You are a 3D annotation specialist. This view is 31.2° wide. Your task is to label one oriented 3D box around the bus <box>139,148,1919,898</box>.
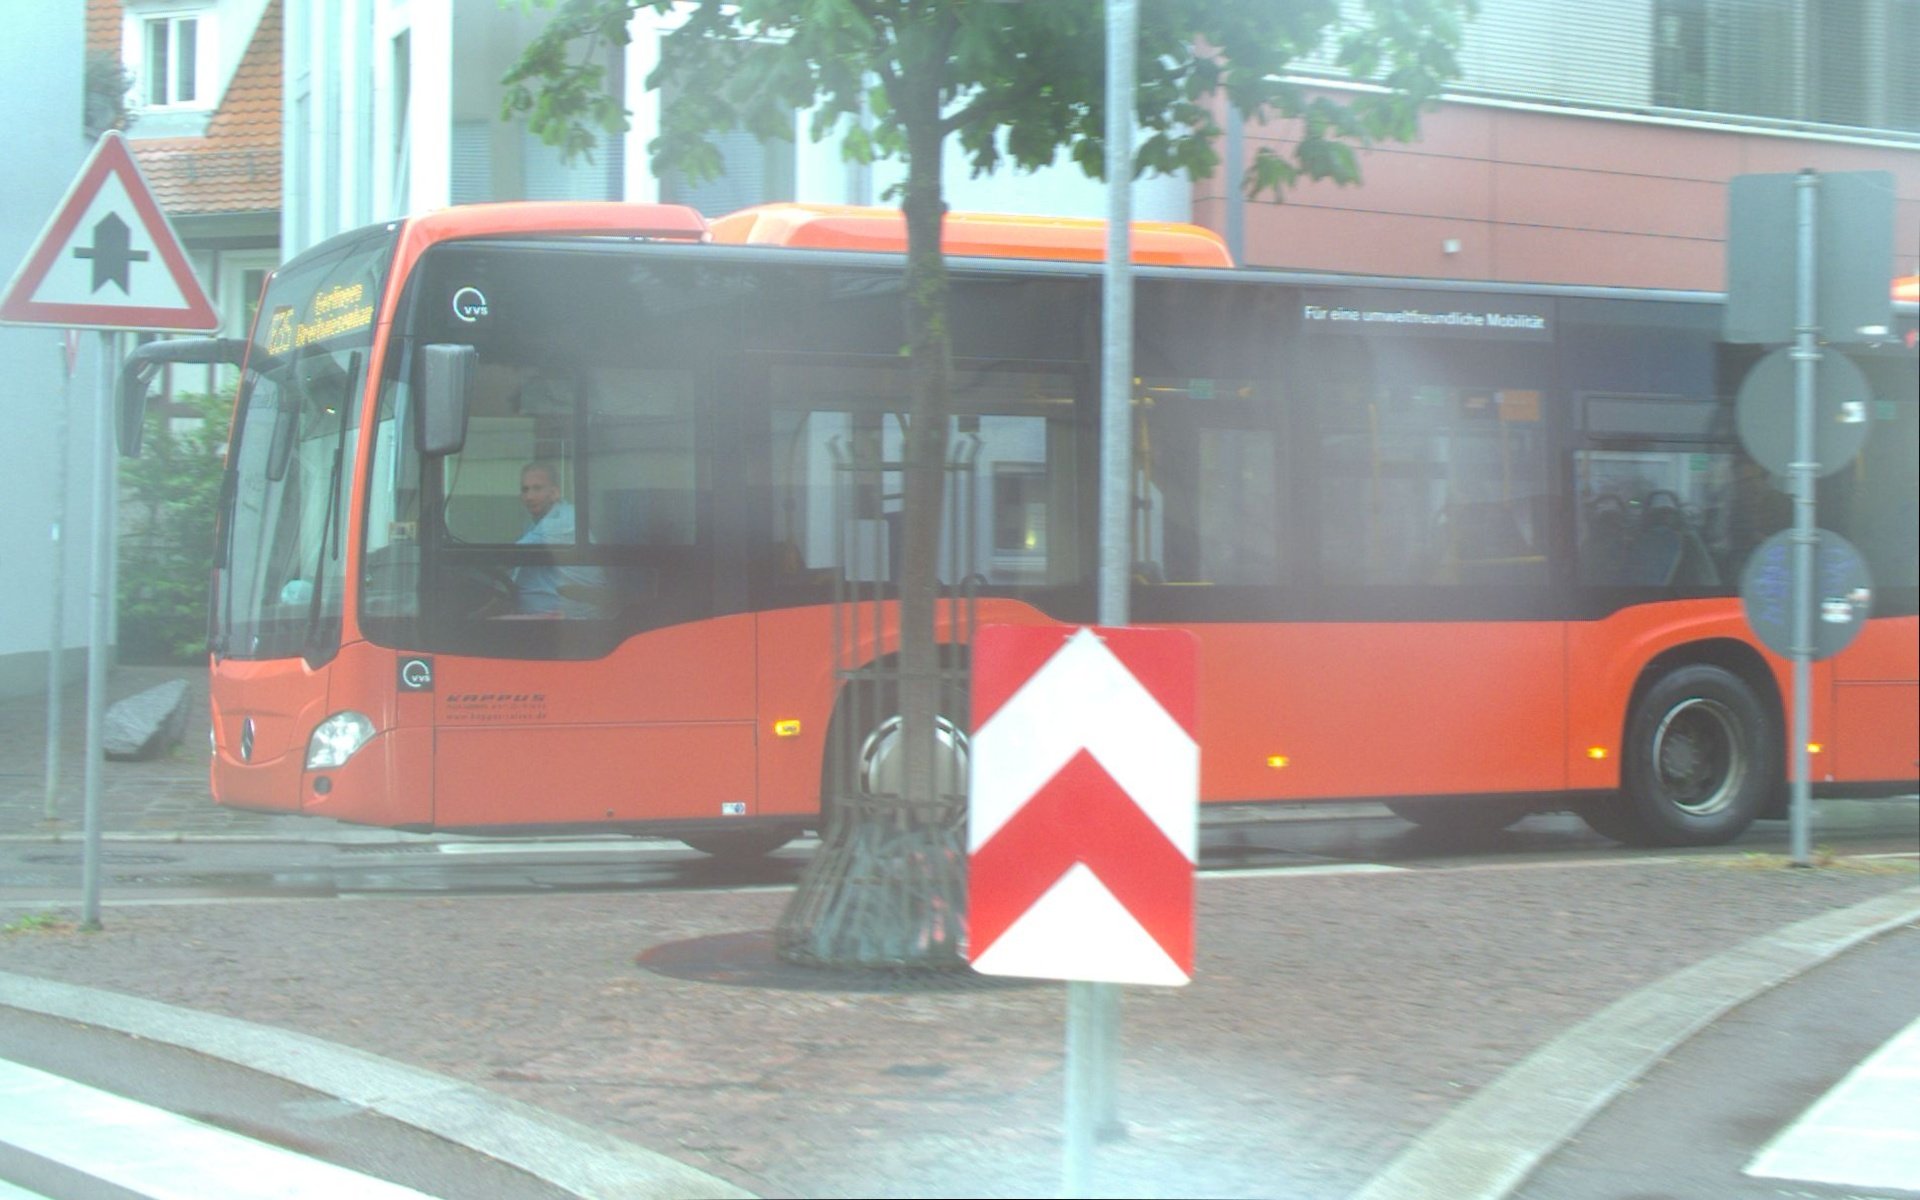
[{"bbox_3d":[1.411,-0.389,17.703,10.571,3.078,2.822,-1,0,-26],"label":"bus"}]
